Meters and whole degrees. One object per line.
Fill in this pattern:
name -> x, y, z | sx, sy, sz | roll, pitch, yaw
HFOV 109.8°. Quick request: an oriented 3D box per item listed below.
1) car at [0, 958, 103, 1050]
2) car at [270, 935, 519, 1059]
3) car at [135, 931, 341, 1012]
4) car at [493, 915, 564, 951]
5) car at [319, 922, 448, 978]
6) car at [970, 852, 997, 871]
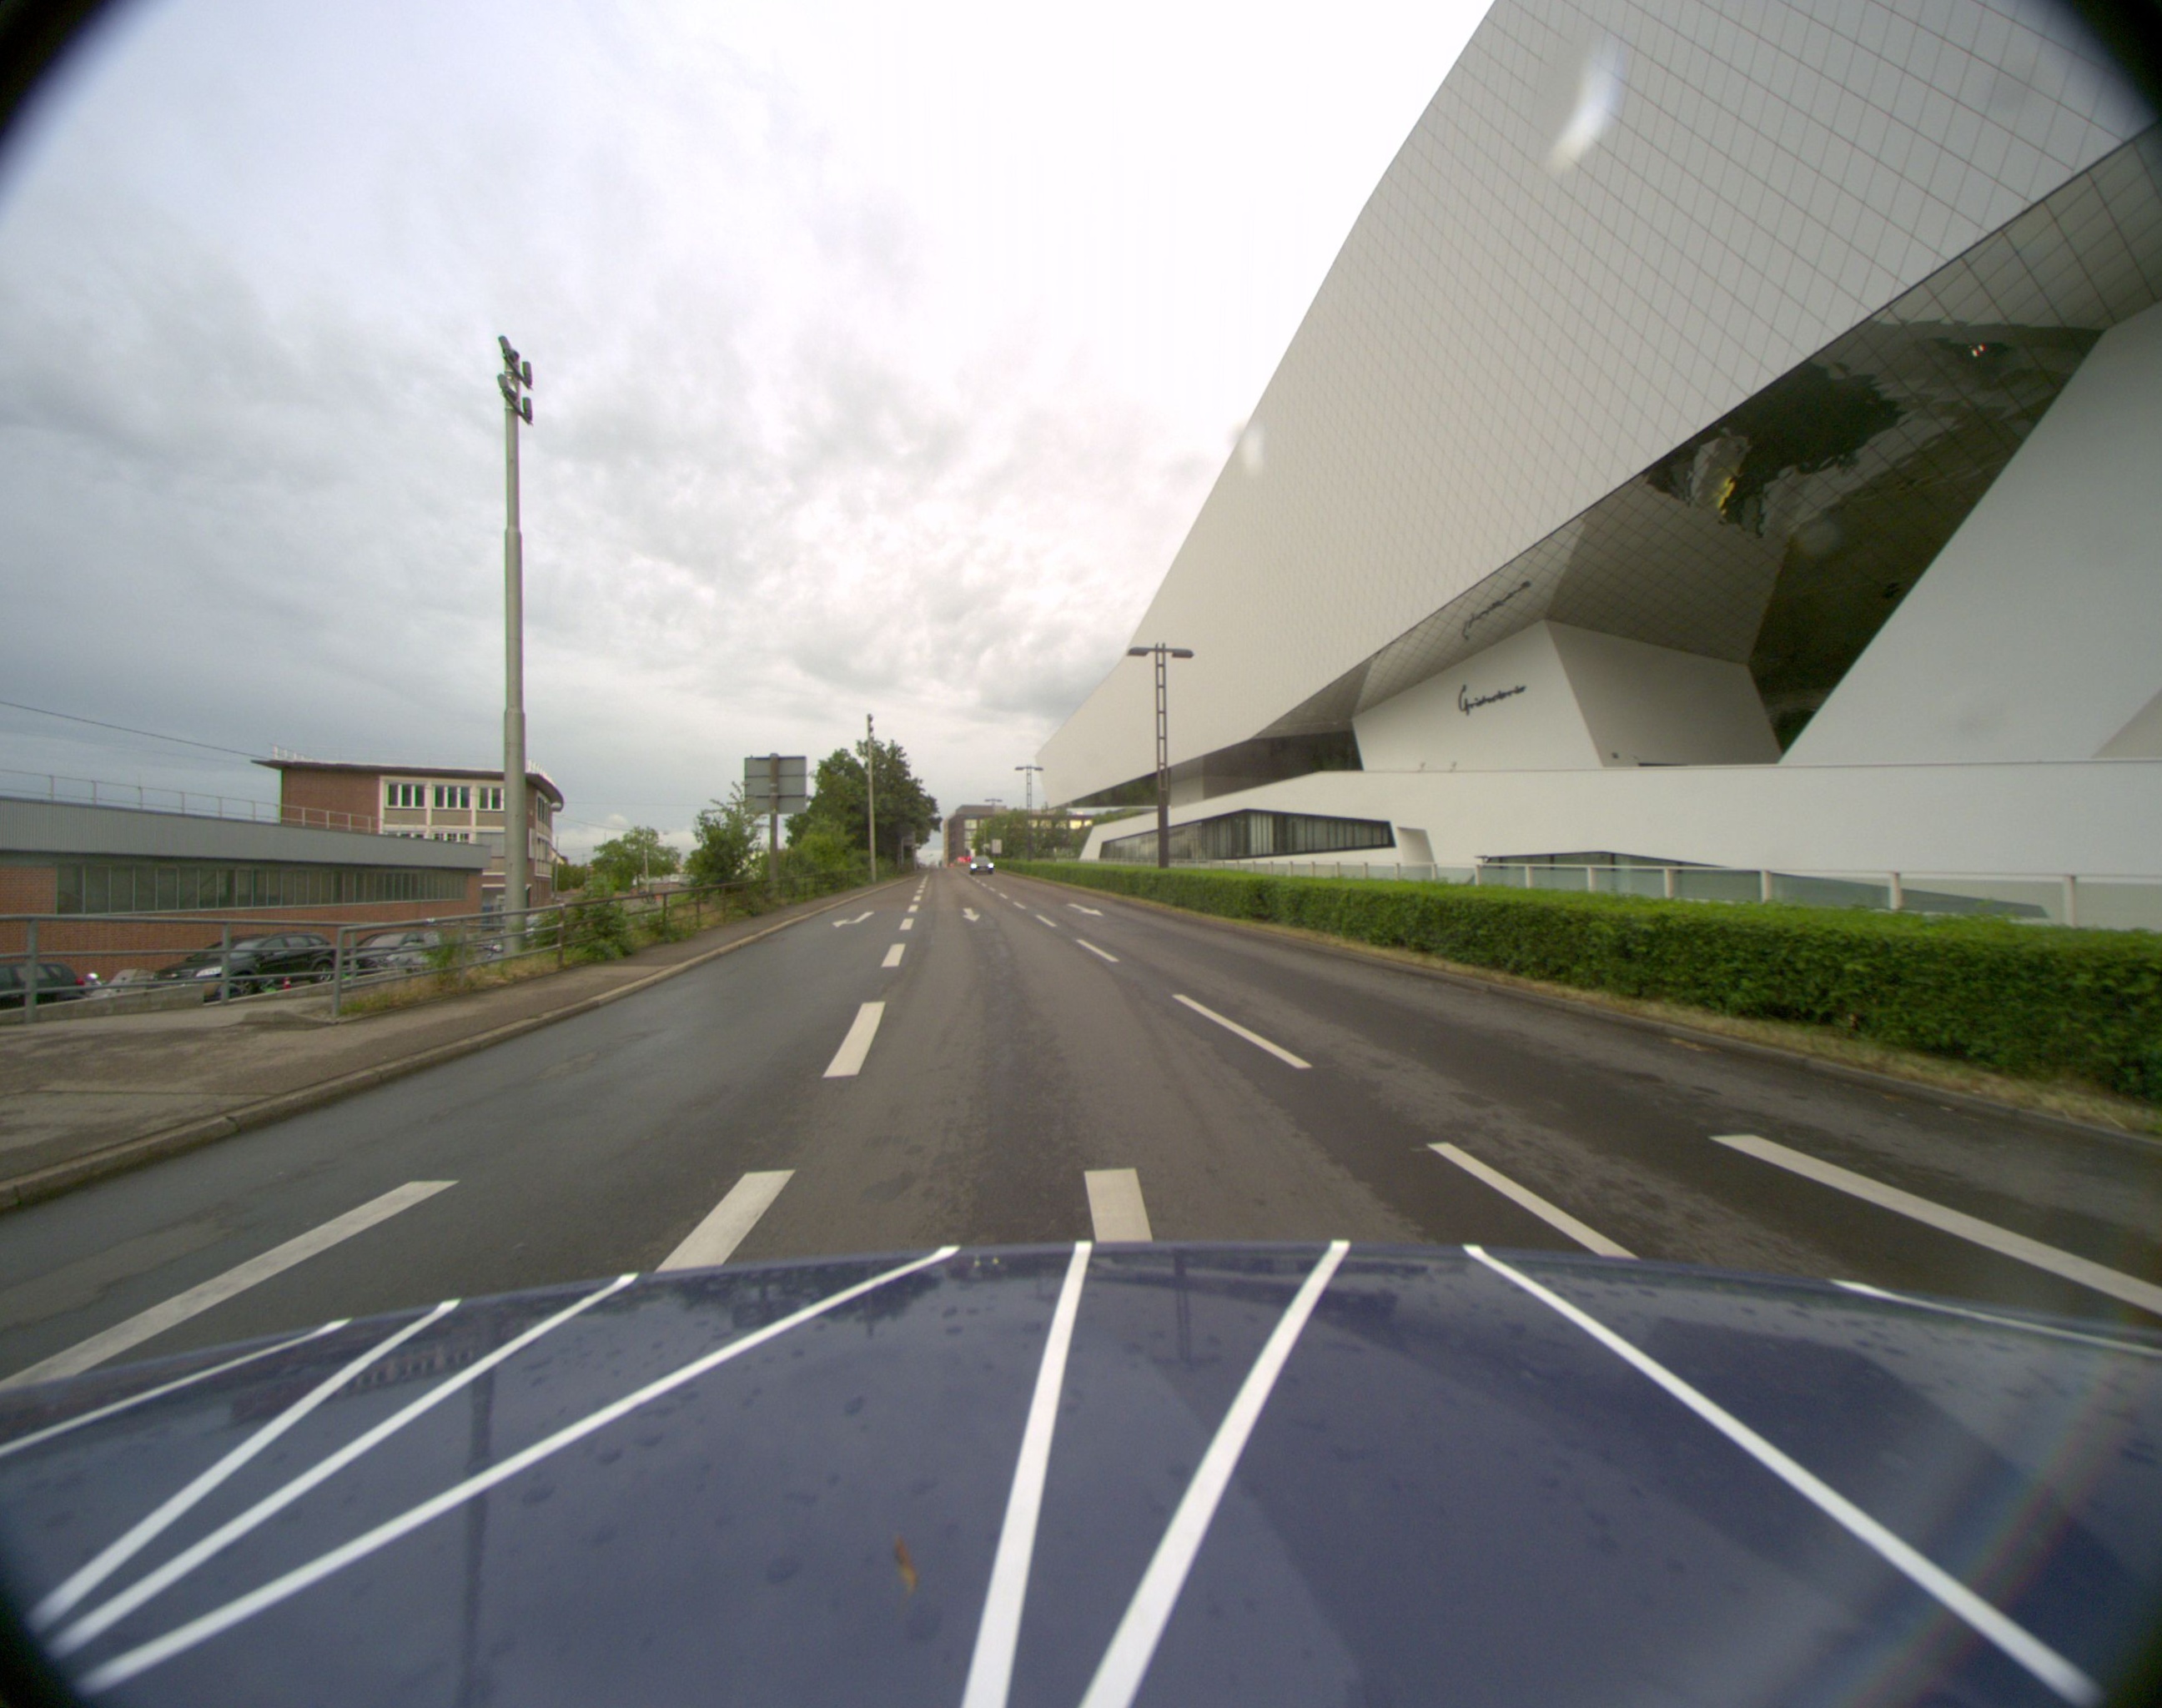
car -> -22.816, 3.192, 15.244 | 1.704, 1.618, 3.927 | -1, 0, -10
car -> -12.615, 2.533, 14.341 | 1.704, 1.546, 3.853 | -1, 0, -11
car -> -24.185, 3.293, 22.090 | 1.638, 1.621, 4.426 | -1, 0, -11
car -> -29.557, 4.192, 40.783 | 1.704, 1.546, 3.852 | -1, 0, -13
car -> -25.479, 3.449, 27.941 | 1.704, 1.546, 3.853 | -1, 0, -11
car -> -8.431, 0.650, 65.345 | 1.843, 1.574, 4.284 | -1, 0, -13
